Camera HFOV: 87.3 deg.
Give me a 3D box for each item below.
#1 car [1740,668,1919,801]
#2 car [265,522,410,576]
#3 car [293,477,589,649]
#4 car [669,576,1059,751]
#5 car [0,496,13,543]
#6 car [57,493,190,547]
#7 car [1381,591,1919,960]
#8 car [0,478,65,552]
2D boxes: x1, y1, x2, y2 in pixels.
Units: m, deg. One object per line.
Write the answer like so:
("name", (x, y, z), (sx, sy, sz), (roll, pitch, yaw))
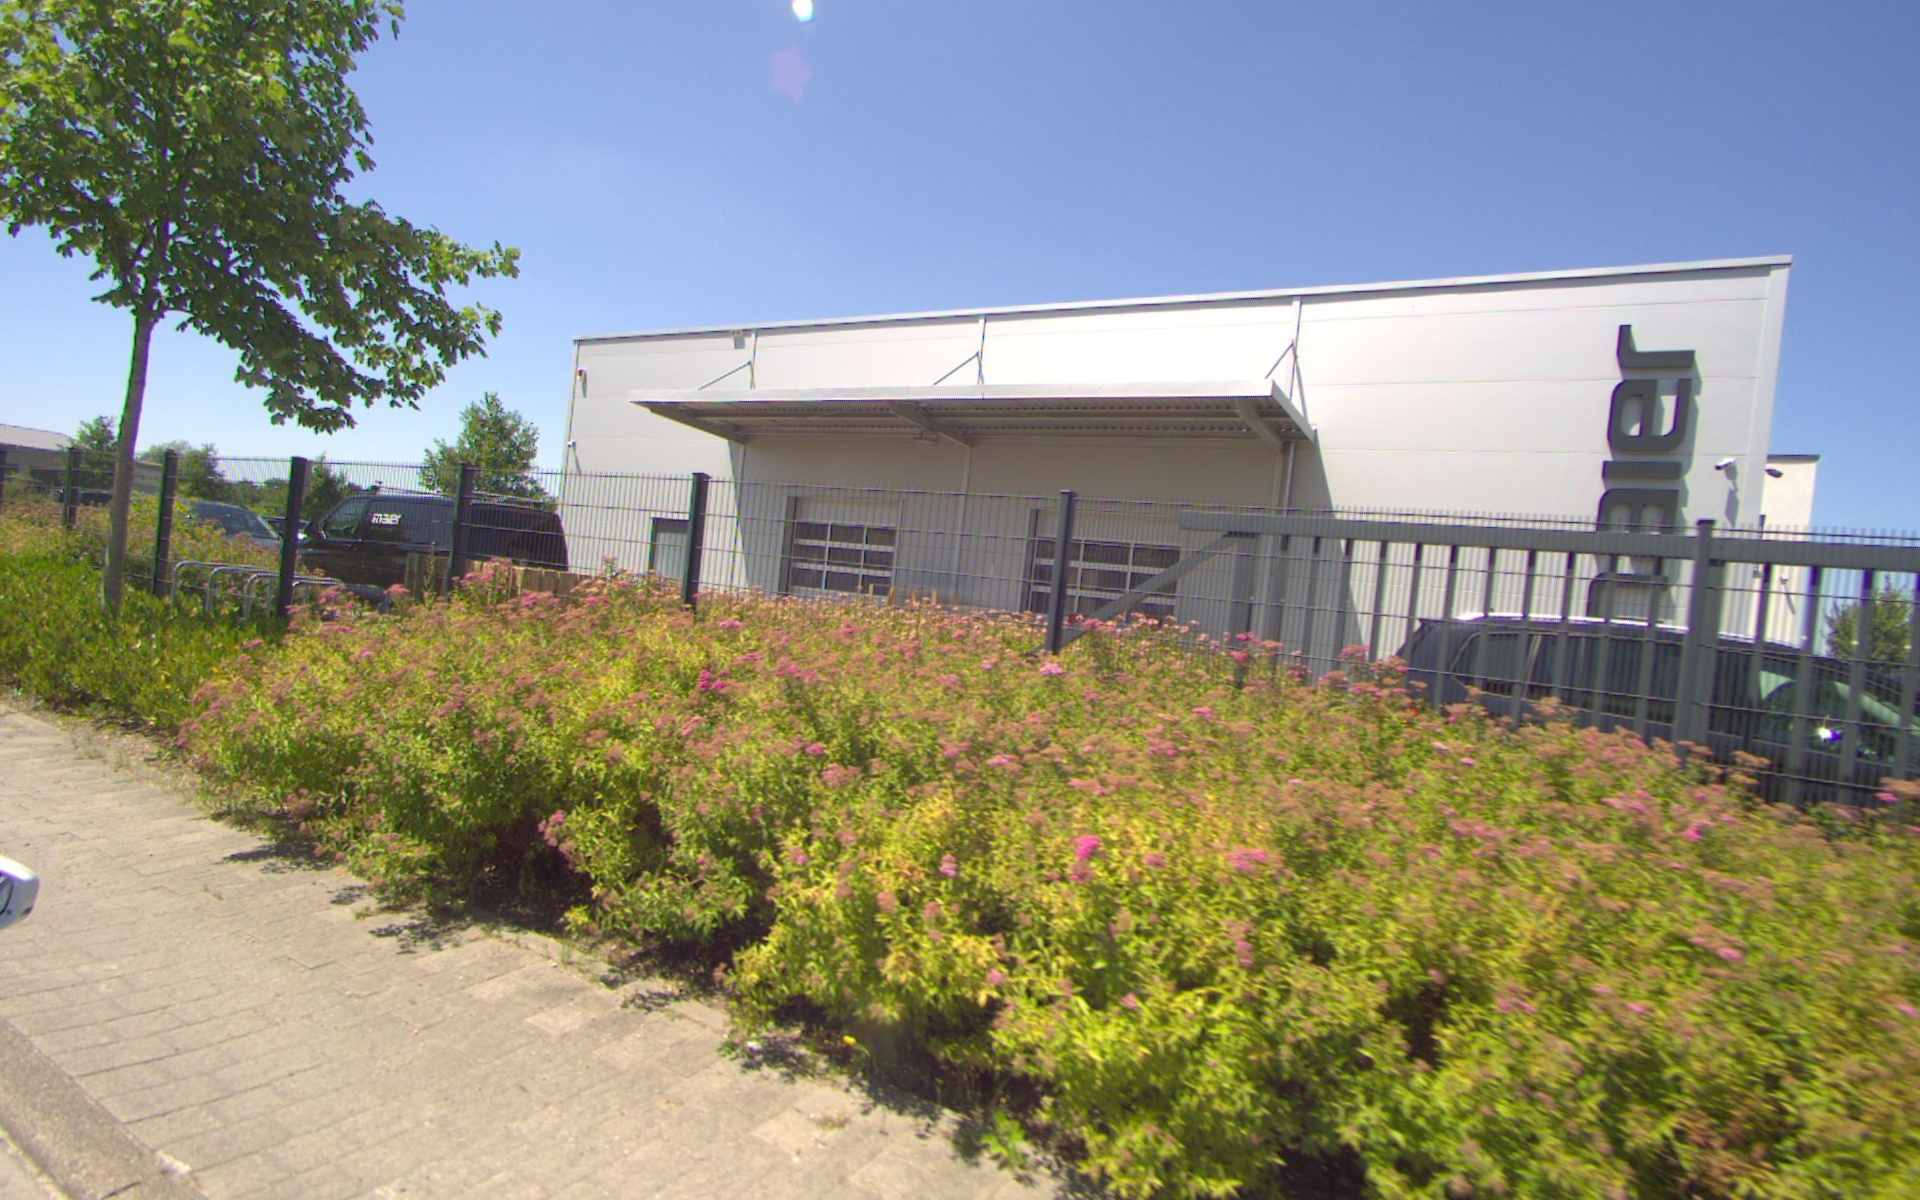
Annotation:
("car", (12.474, 1.807, 14.161), (1.676, 1.397, 3.990), (9, 2, 30))
("car", (-21.650, -1.737, 35.096), (1.738, 1.421, 3.874), (6, 0, 33))
("car", (-7.687, -0.569, 14.812), (4.155, 2.114, 1.877), (6, 2, 31))
("car", (-1.077, 0.587, 10.640), (3.815, 1.288, 1.619), (6, 0, 31))
("car", (-31.690, -2.680, 30.304), (1.725, 1.463, 4.282), (6, 1, 30))
("car", (-36.561, -3.486, 44.074), (1.886, 1.823, 4.045), (6, 1, 30))
("car", (4.667, 0.959, 6.122), (3.517, 1.573, 1.810), (8, 2, 31))
("car", (-27.243, -2.467, 26.500), (1.871, 1.898, 5.117), (6, 1, 30))
